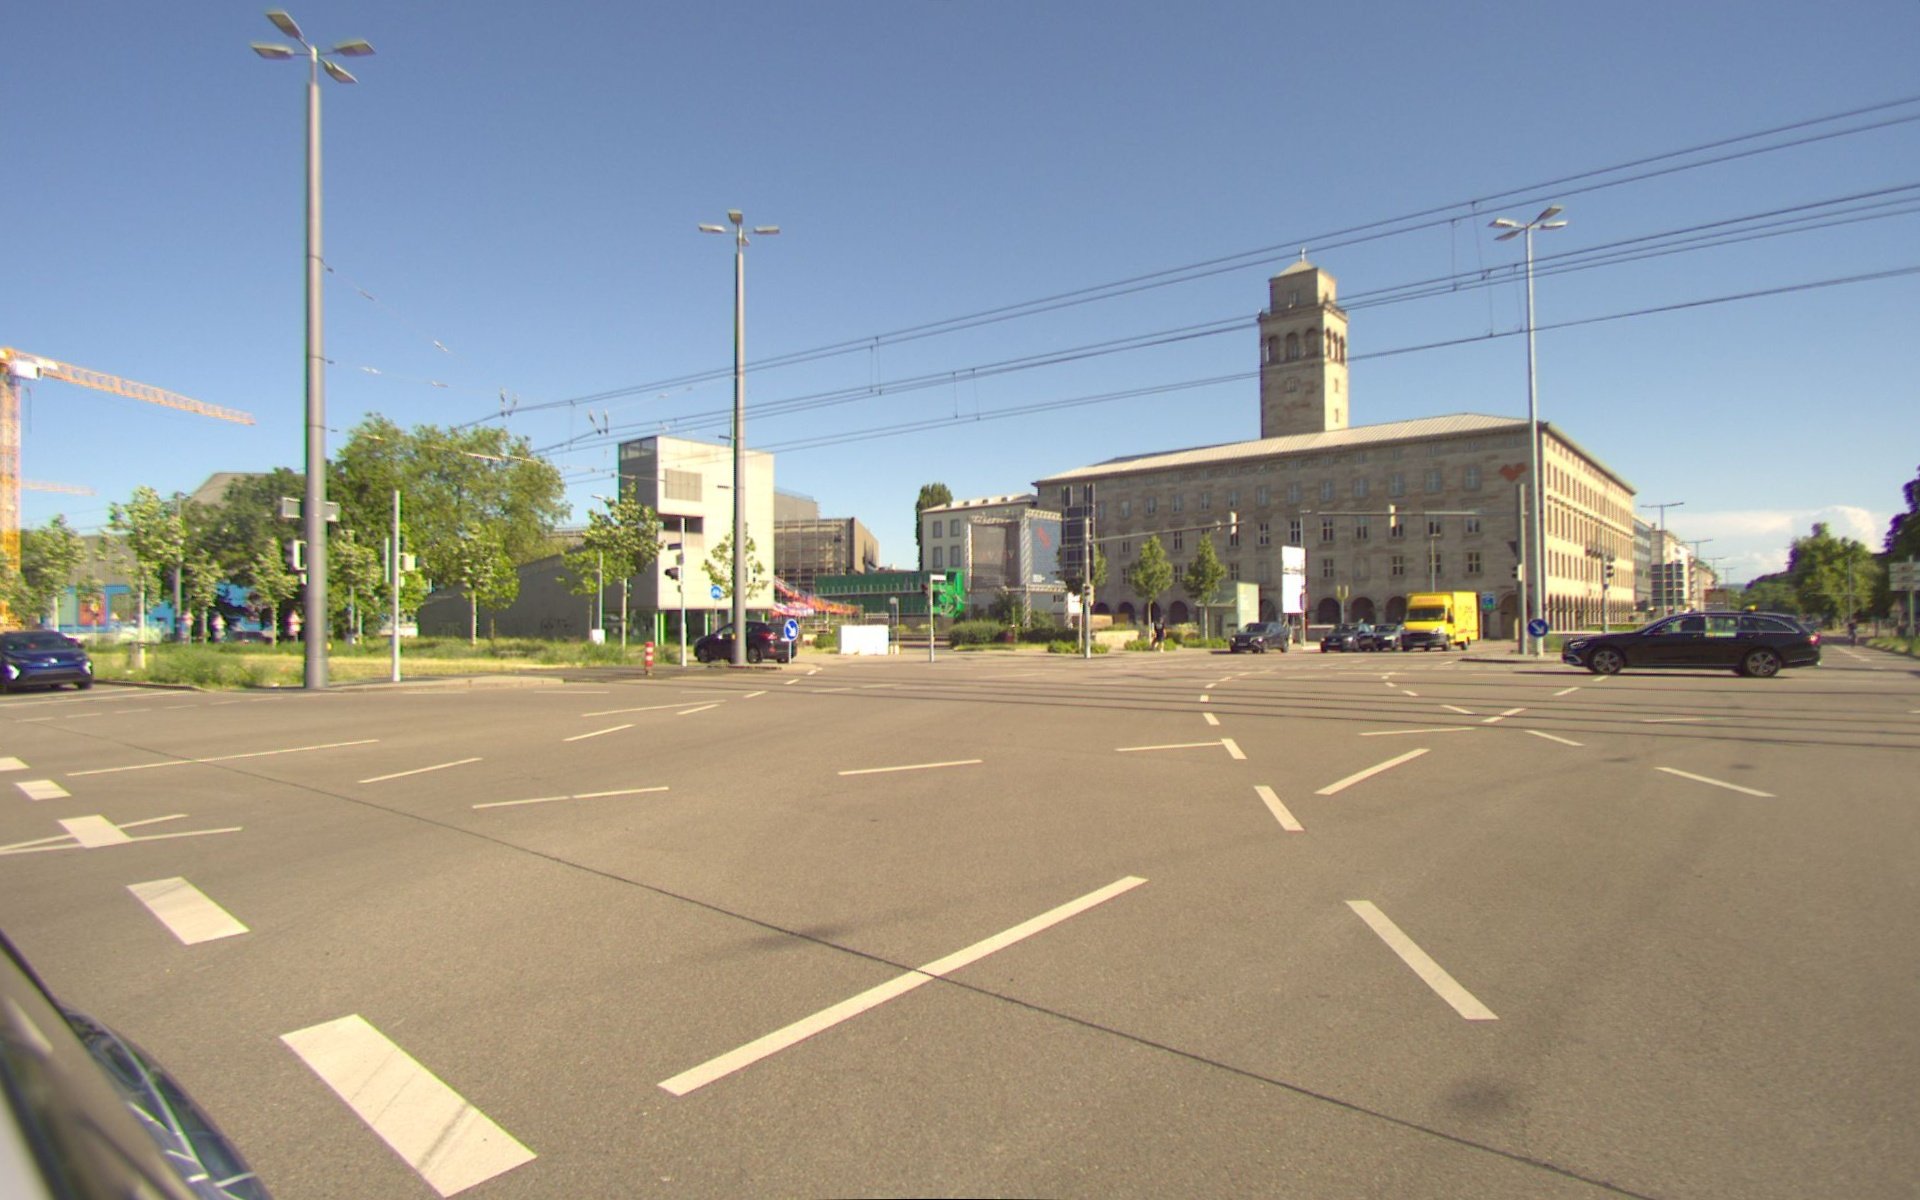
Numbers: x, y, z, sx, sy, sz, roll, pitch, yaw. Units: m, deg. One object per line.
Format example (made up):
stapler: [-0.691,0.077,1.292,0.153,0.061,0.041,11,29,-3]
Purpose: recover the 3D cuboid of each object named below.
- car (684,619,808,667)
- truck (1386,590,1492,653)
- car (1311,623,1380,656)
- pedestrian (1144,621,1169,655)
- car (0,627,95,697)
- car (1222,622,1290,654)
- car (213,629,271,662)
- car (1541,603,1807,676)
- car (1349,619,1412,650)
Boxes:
car: [-8.139,1.598,38.363,4.547,1.720,1.977,-2,-1,34]
truck: [23.228,0.993,48.833,2.462,2.814,7.923,-2,-2,41]
car: [19.047,1.921,49.931,1.903,1.551,3.945,-2,-2,42]
pedestrian: [10.105,1.957,51.997,0.942,1.698,1.186,-3,-2,24]
car: [-24.273,1.563,26.357,4.080,1.600,1.754,-2,0,37]
car: [15.601,1.973,53.249,1.903,1.551,3.945,-2,-2,42]
car: [-45.317,2.851,63.875,3.993,1.970,1.853,-2,-2,37]
car: [16.554,0.925,23.833,4.805,1.573,1.982,-1,-2,27]
car: [22.451,1.803,53.914,1.903,1.551,3.945,-2,-2,42]
